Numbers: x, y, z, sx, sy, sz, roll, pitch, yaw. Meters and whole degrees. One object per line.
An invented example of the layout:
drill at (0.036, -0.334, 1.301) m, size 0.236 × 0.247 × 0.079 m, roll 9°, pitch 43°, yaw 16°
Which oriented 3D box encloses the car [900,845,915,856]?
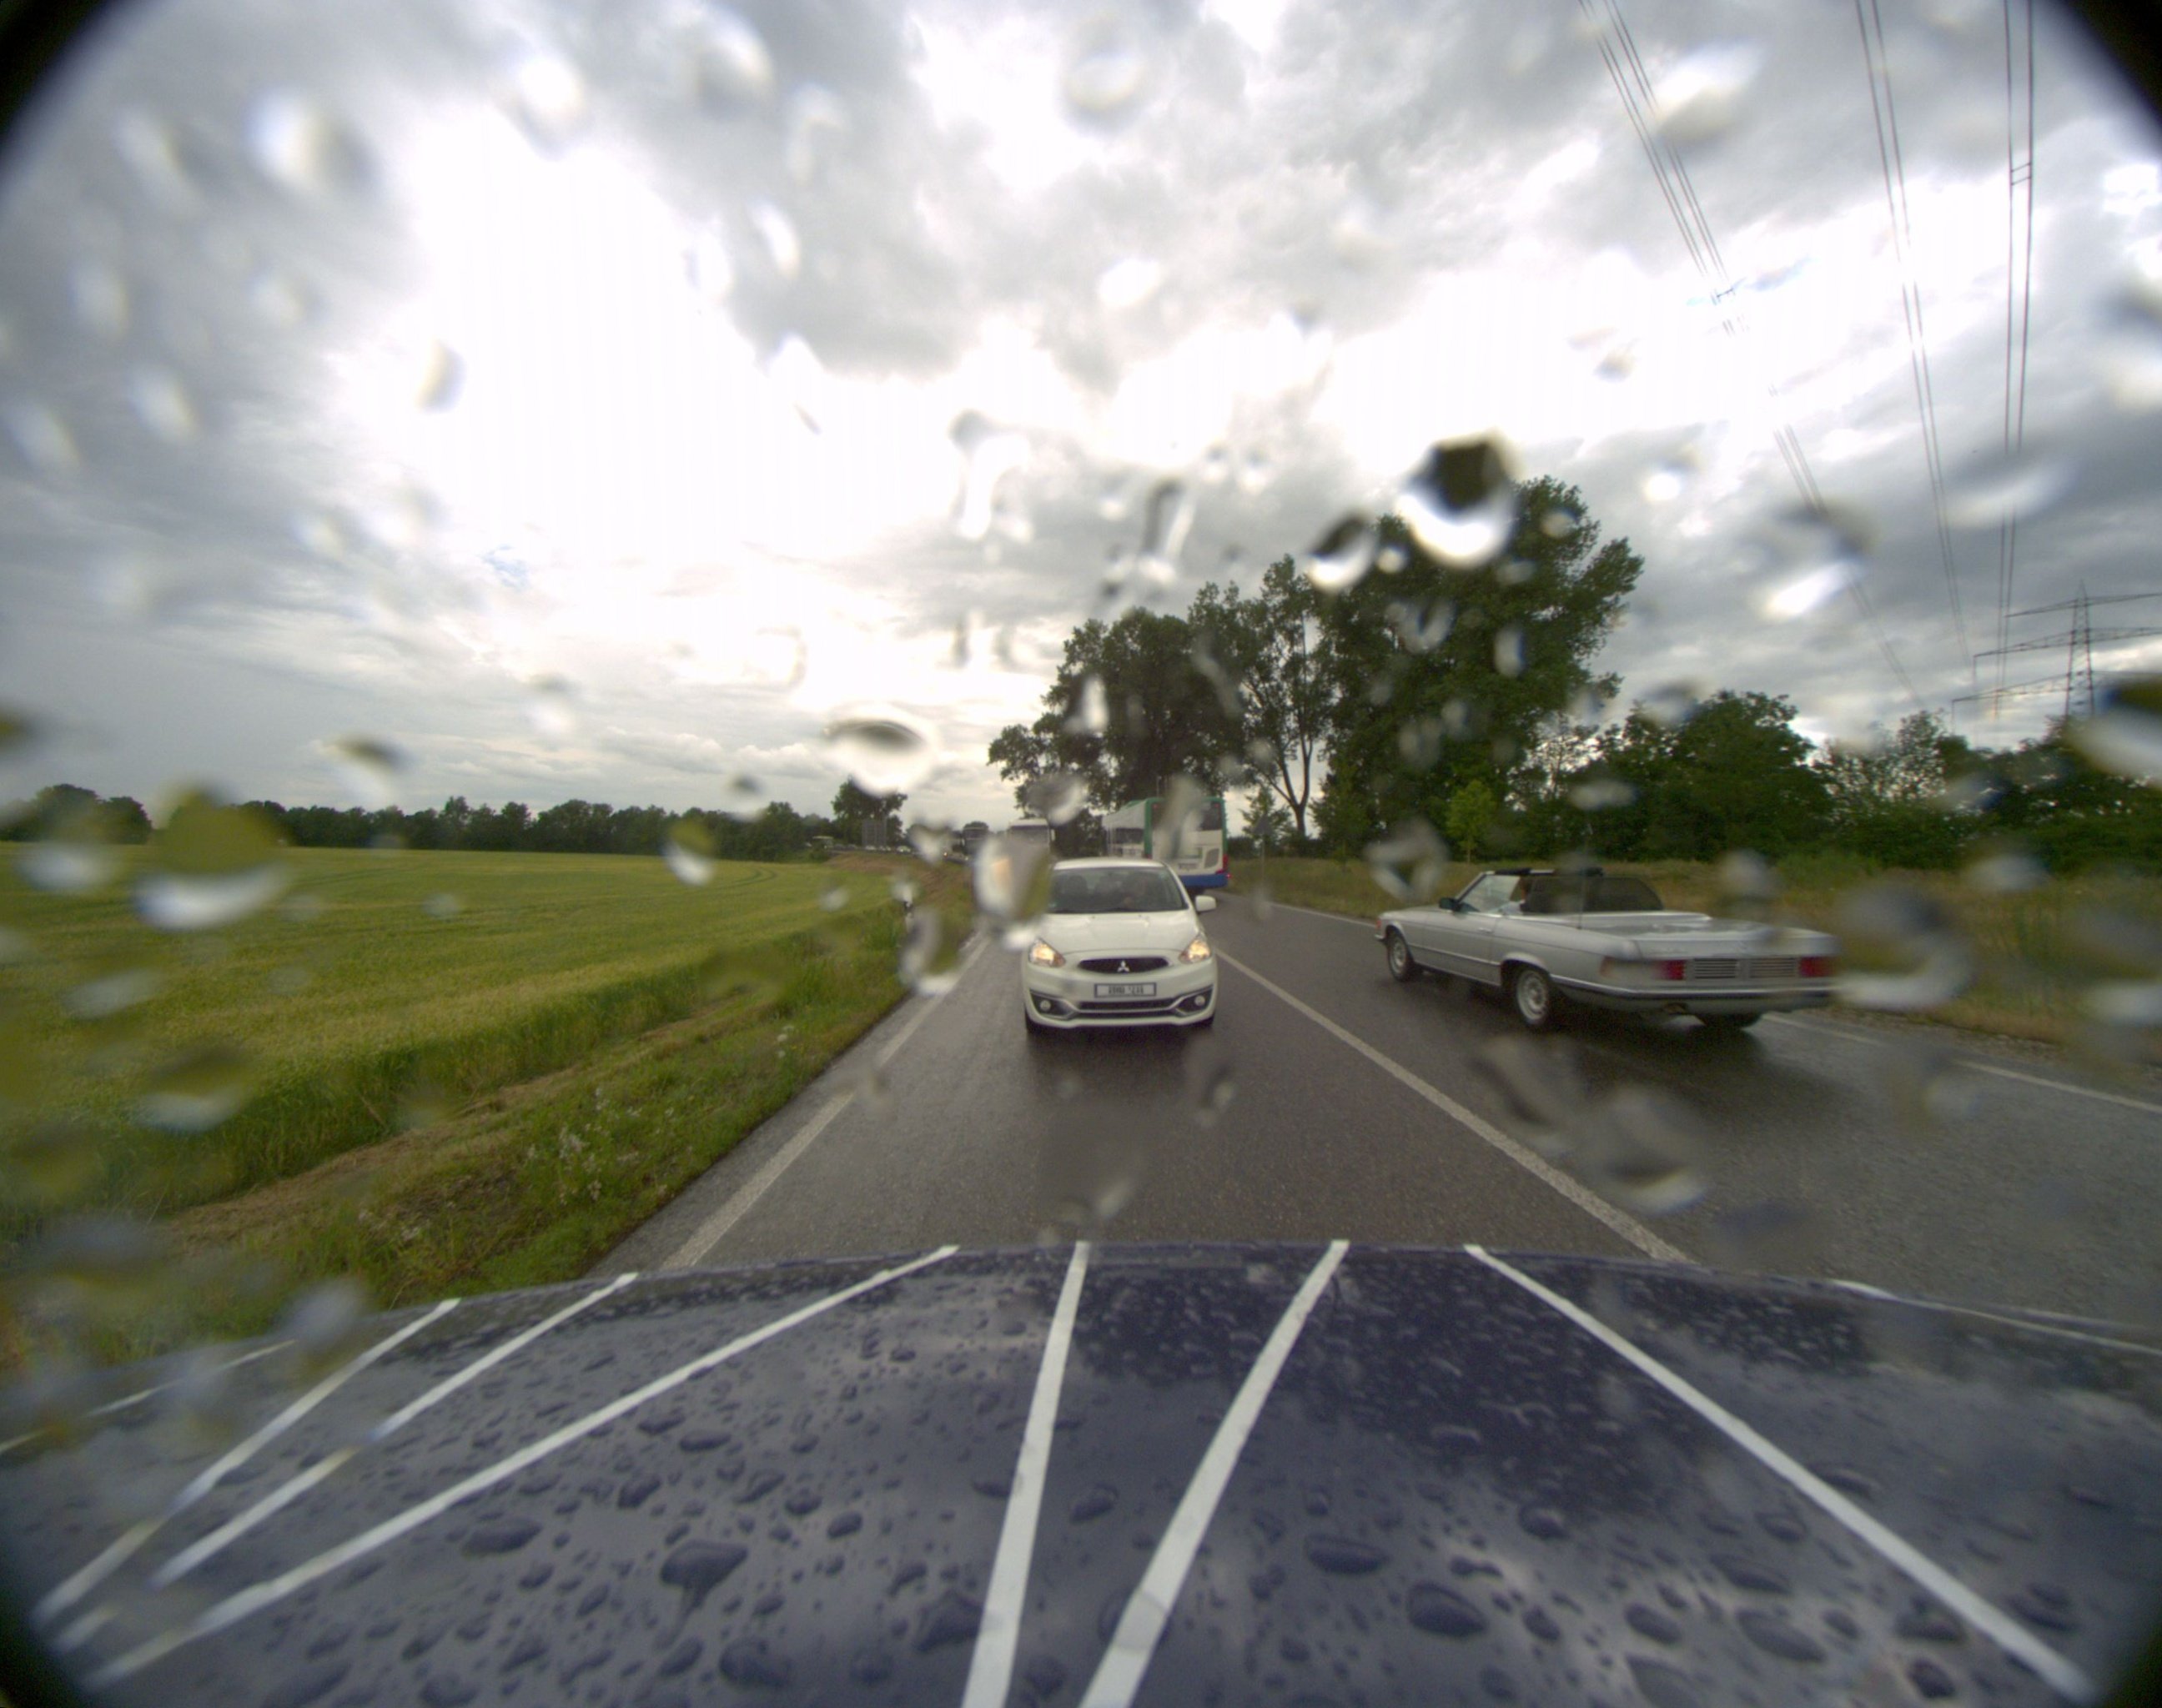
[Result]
car at (-32.165, -0.710, 140.917) m, size 2.002 × 2.002 × 4.223 m, roll -3°, pitch 2°, yaw -22°

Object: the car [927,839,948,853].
car at (-21.877, -1.288, 115.590) m, size 2.002 × 2.002 × 5.324 m, roll -3°, pitch 2°, yaw -23°

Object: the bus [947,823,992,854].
bus at (-13.335, -1.895, 89.924) m, size 2.968 × 3.294 × 14.811 m, roll -2°, pitch 2°, yaw -17°

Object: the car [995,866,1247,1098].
car at (0.229, 0.890, 7.132) m, size 1.653 × 1.461 × 4.029 m, roll -2°, pitch 0°, yaw -1°

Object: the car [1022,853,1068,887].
car at (-1.780, 0.714, 36.286) m, size 1.782 × 1.380 × 4.324 m, roll -2°, pitch 2°, yaw -8°

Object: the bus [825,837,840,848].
bus at (-68.512, -3.248, 209.467) m, size 2.003 × 2.899 × 6.991 m, roll -3°, pitch 2°, yaw -35°

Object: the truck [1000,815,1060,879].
truck at (-3.291, -0.485, 47.279) m, size 2.986 × 3.590 × 6.073 m, roll -2°, pitch 2°, yaw -10°

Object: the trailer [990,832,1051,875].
trailer at (-4.714, -0.180, 55.717) m, size 2.986 × 2.618 × 15.664 m, roll -2°, pitch 2°, yaw -10°

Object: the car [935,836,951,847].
car at (-27.750, -2.532, 152.269) m, size 2.002 × 2.002 × 4.110 m, roll -3°, pitch 2°, yaw -26°

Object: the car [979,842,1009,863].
car at (-8.217, -0.159, 71.434) m, size 2.044 × 1.832 × 5.328 m, roll -2°, pitch 2°, yaw -15°

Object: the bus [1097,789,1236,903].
bus at (2.659, -0.277, 28.597) m, size 2.766 × 3.279 × 12.495 m, roll -2°, pitch 0°, yaw -5°

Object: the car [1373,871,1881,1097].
car at (4.248, 0.877, 6.839) m, size 1.723 × 1.244 × 3.999 m, roll -2°, pitch 1°, yaw 1°

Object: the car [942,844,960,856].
car at (-17.787, -0.570, 103.903) m, size 1.816 × 1.569 × 3.993 m, roll -2°, pitch 2°, yaw -19°
